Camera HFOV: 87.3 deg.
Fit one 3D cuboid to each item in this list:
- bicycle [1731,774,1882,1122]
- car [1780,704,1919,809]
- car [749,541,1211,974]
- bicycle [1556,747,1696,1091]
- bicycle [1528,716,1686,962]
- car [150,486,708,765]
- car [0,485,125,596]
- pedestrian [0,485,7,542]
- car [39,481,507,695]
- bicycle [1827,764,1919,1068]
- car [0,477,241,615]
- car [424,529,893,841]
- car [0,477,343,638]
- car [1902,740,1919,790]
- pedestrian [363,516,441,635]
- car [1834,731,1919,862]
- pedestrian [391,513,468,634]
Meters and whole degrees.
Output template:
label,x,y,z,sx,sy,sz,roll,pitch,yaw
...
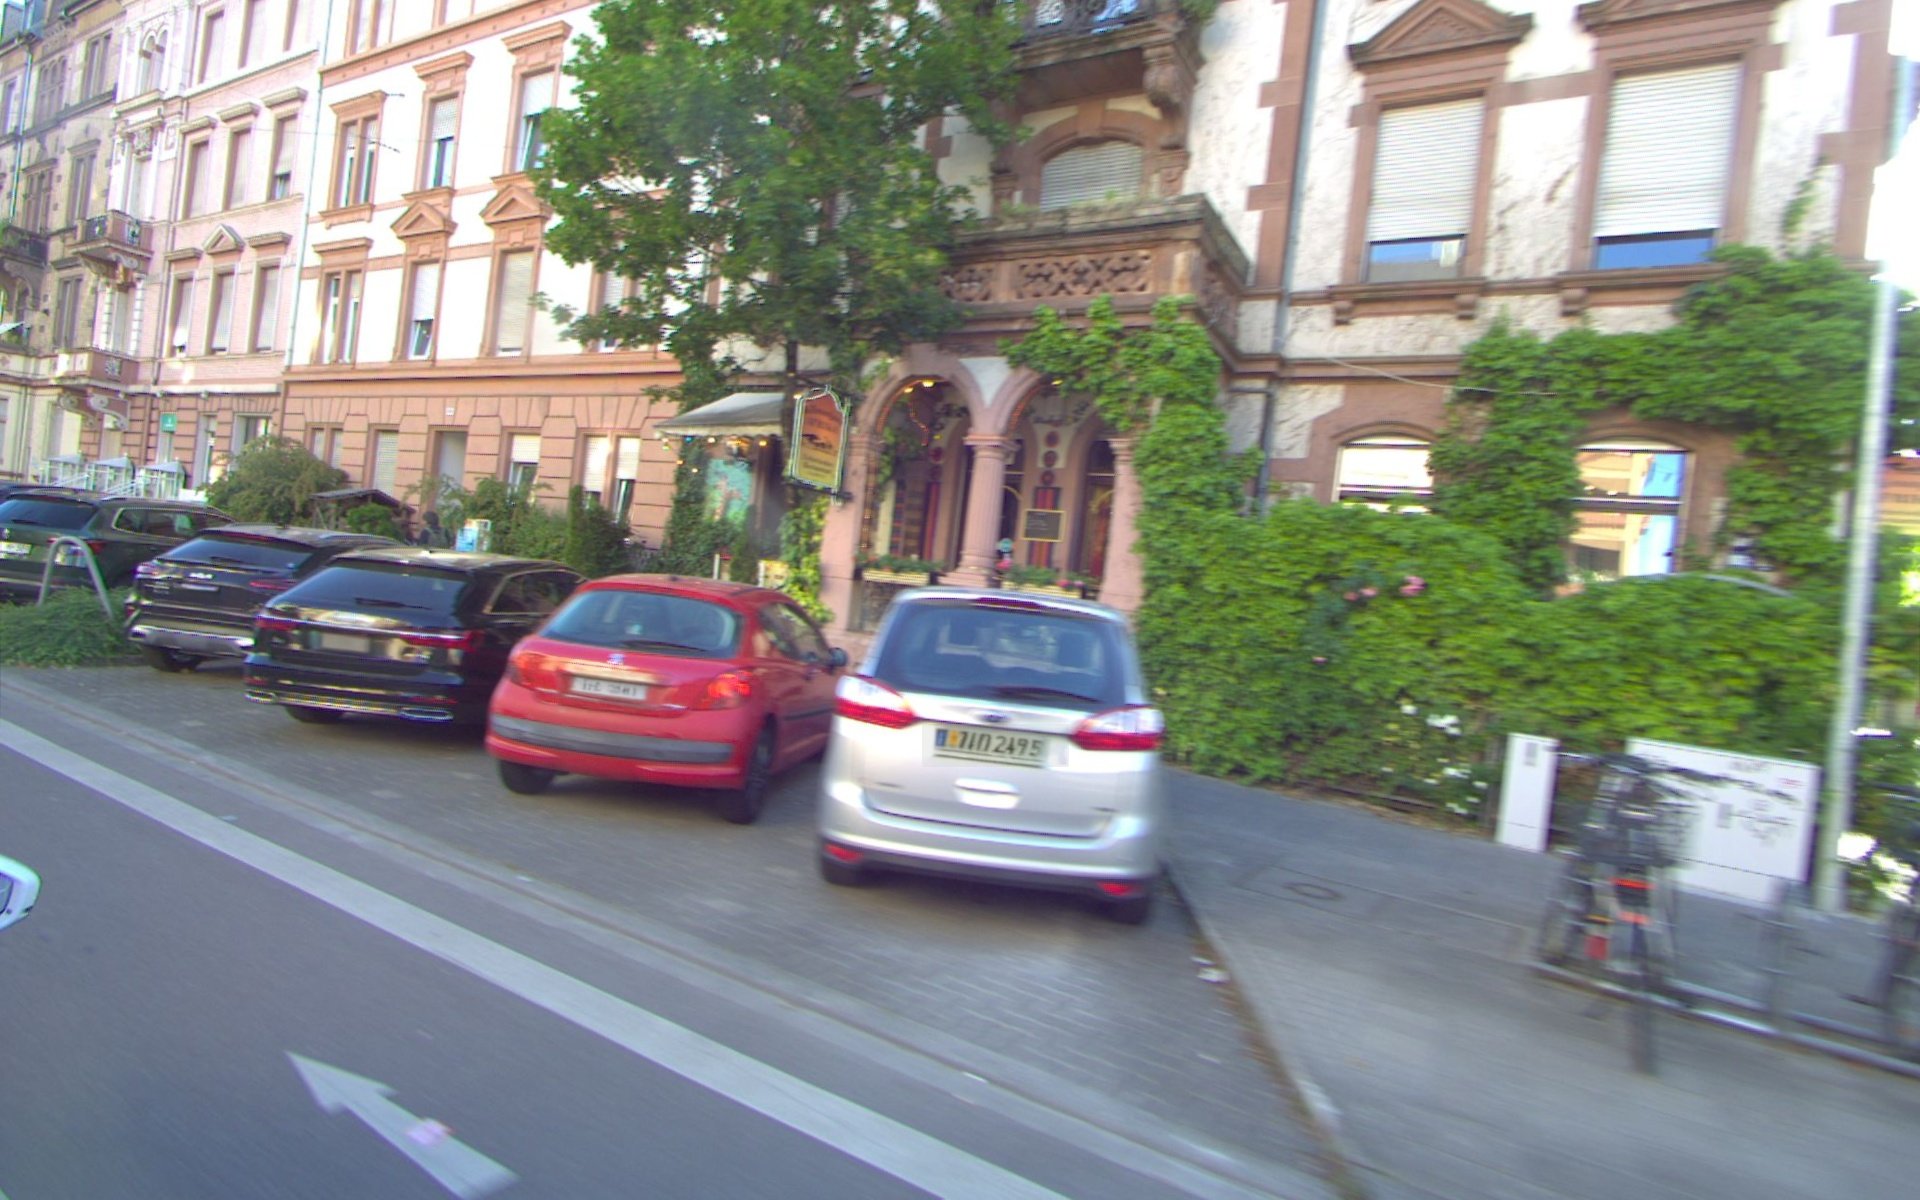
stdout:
label,x,y,z,sx,sy,sz,roll,pitch,yaw
bicycle,3.449,1.316,4.162,0.302,1.092,1.556,6,-2,37
car,15.670,2.658,17.375,1.684,1.470,3.994,6,-2,32
car,0.321,0.759,6.496,1.818,1.614,4.371,7,-2,7
bicycle,2.833,1.217,4.224,0.290,1.140,1.560,6,-2,37
bicycle,3.750,1.285,5.775,0.543,1.140,1.556,6,-2,37
car,-4.123,0.261,8.913,2.049,1.614,4.454,7,-2,7
car,-15.557,-1.044,15.408,1.947,1.614,4.317,7,-2,-4
pedestrian,-24.926,-2.170,25.586,0.643,1.626,0.713,7,-1,30
car,-6.939,-0.038,10.912,2.008,1.614,4.334,7,-2,-1
bicycle,4.450,1.384,4.589,0.543,1.140,1.675,6,-2,37
car,-12.876,-0.779,14.268,2.048,1.614,4.004,7,-2,7
car,-1.895,0.569,7.788,1.882,1.554,4.004,7,-2,7
car,-10.470,-0.455,13.102,1.922,1.614,4.004,7,-2,7
car,34.607,5.857,33.731,3.882,1.651,1.774,7,-1,19
pedestrian,-8.405,-0.369,15.151,0.849,1.668,0.518,6,-1,32
car,13.011,2.607,13.118,1.684,1.470,3.994,6,-2,32
pedestrian,-8.338,-0.419,15.809,0.849,1.799,0.518,6,-1,32
